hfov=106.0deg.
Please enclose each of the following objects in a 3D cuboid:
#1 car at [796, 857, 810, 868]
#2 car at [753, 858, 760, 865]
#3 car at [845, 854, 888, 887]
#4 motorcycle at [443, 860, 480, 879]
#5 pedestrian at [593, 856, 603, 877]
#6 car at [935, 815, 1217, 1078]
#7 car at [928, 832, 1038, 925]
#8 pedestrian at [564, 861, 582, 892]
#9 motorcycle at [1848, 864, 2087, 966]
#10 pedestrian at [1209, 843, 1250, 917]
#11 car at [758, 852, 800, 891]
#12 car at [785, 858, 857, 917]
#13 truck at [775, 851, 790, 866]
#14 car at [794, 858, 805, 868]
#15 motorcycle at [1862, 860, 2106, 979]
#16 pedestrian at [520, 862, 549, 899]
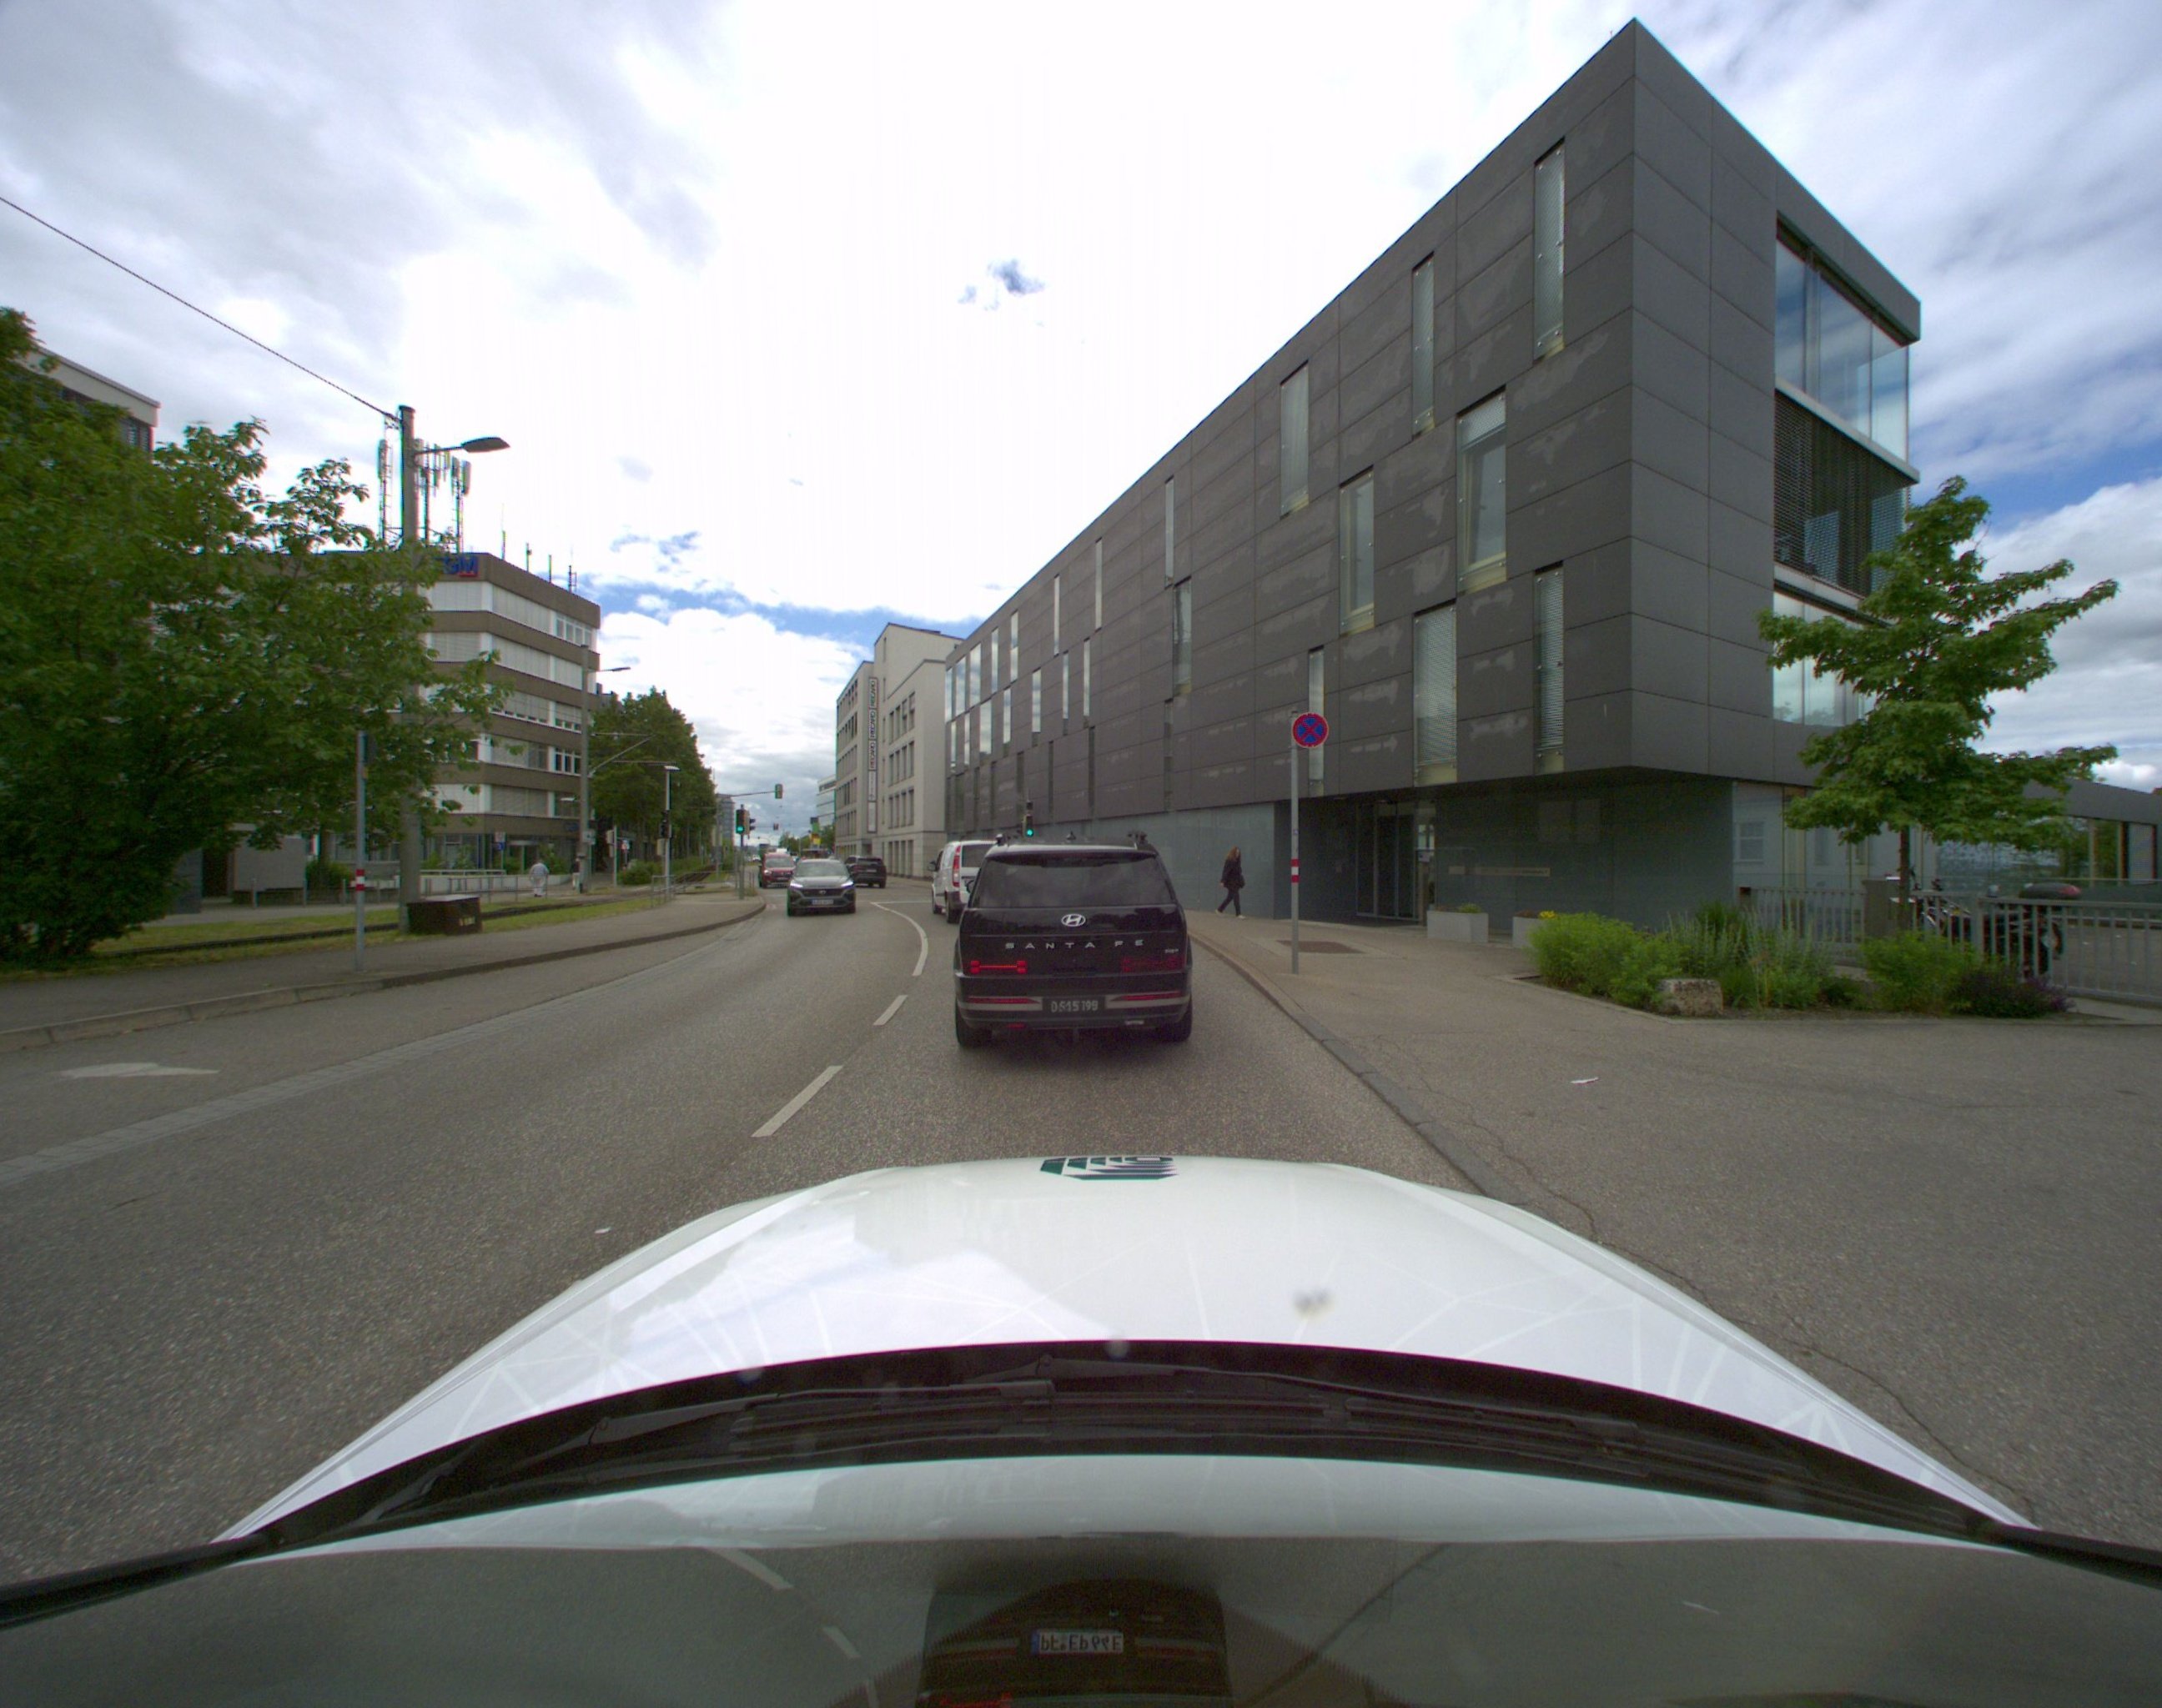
[{"bbox_3d":[-40.829,1.282,119.558,1.765,1.609,4.160,0,0,-20],"label":"car"},{"bbox_3d":[-79.774,1.814,200.217,1.673,1.882,3.971,0,0,-22],"label":"car"},{"bbox_3d":[-11.081,0.831,41.874,1.765,1.609,4.160,0,0,-20],"label":"car"},{"bbox_3d":[-39.864,1.003,52.411,1.875,1.199,0.567,0,0,-5],"label":"motorcycle"},{"bbox_3d":[-45.416,1.181,76.600,0.684,2.013,0.566,-1,0,-24],"label":"pedestrian"},{"bbox_3d":[-0.169,0.626,7.757,1.905,1.749,4.390,-1,0,-4],"label":"car"},{"bbox_3d":[-2.541,0.539,20.045,1.936,1.994,4.509,0,0,-17],"label":"car"},{"bbox_3d":[-28.082,1.240,45.060,0.690,1.705,0.678,-1,0,-21],"label":"pedestrian"},{"bbox_3d":[13.483,0.863,12.535,0.669,1.393,2.449,0,0,-17],"label":"motorcycle"},{"bbox_3d":[3.527,0.605,19.303,0.856,1.694,0.717,1,-1,19],"label":"pedestrian"},{"bbox_3d":[-15.496,0.876,41.675,1.689,1.808,4.316,-2,0,-24],"label":"car"},{"bbox_3d":[-7.491,0.897,23.458,1.773,1.479,3.975,-2,0,-19],"label":"car"},{"bbox_3d":[-53.077,0.731,144.735,2.175,2.615,5.750,0,0,-24],"label":"truck"},{"bbox_3d":[-47.164,1.447,136.324,1.765,1.609,4.160,0,0,-20],"label":"car"},{"bbox_3d":[12.016,0.803,10.961,0.669,1.393,2.113,0,1,-17],"label":"motorcycle"},{"bbox_3d":[-23.206,1.117,34.618,0.852,1.526,0.988,-1,0,-25],"label":"pedestrian"}]
